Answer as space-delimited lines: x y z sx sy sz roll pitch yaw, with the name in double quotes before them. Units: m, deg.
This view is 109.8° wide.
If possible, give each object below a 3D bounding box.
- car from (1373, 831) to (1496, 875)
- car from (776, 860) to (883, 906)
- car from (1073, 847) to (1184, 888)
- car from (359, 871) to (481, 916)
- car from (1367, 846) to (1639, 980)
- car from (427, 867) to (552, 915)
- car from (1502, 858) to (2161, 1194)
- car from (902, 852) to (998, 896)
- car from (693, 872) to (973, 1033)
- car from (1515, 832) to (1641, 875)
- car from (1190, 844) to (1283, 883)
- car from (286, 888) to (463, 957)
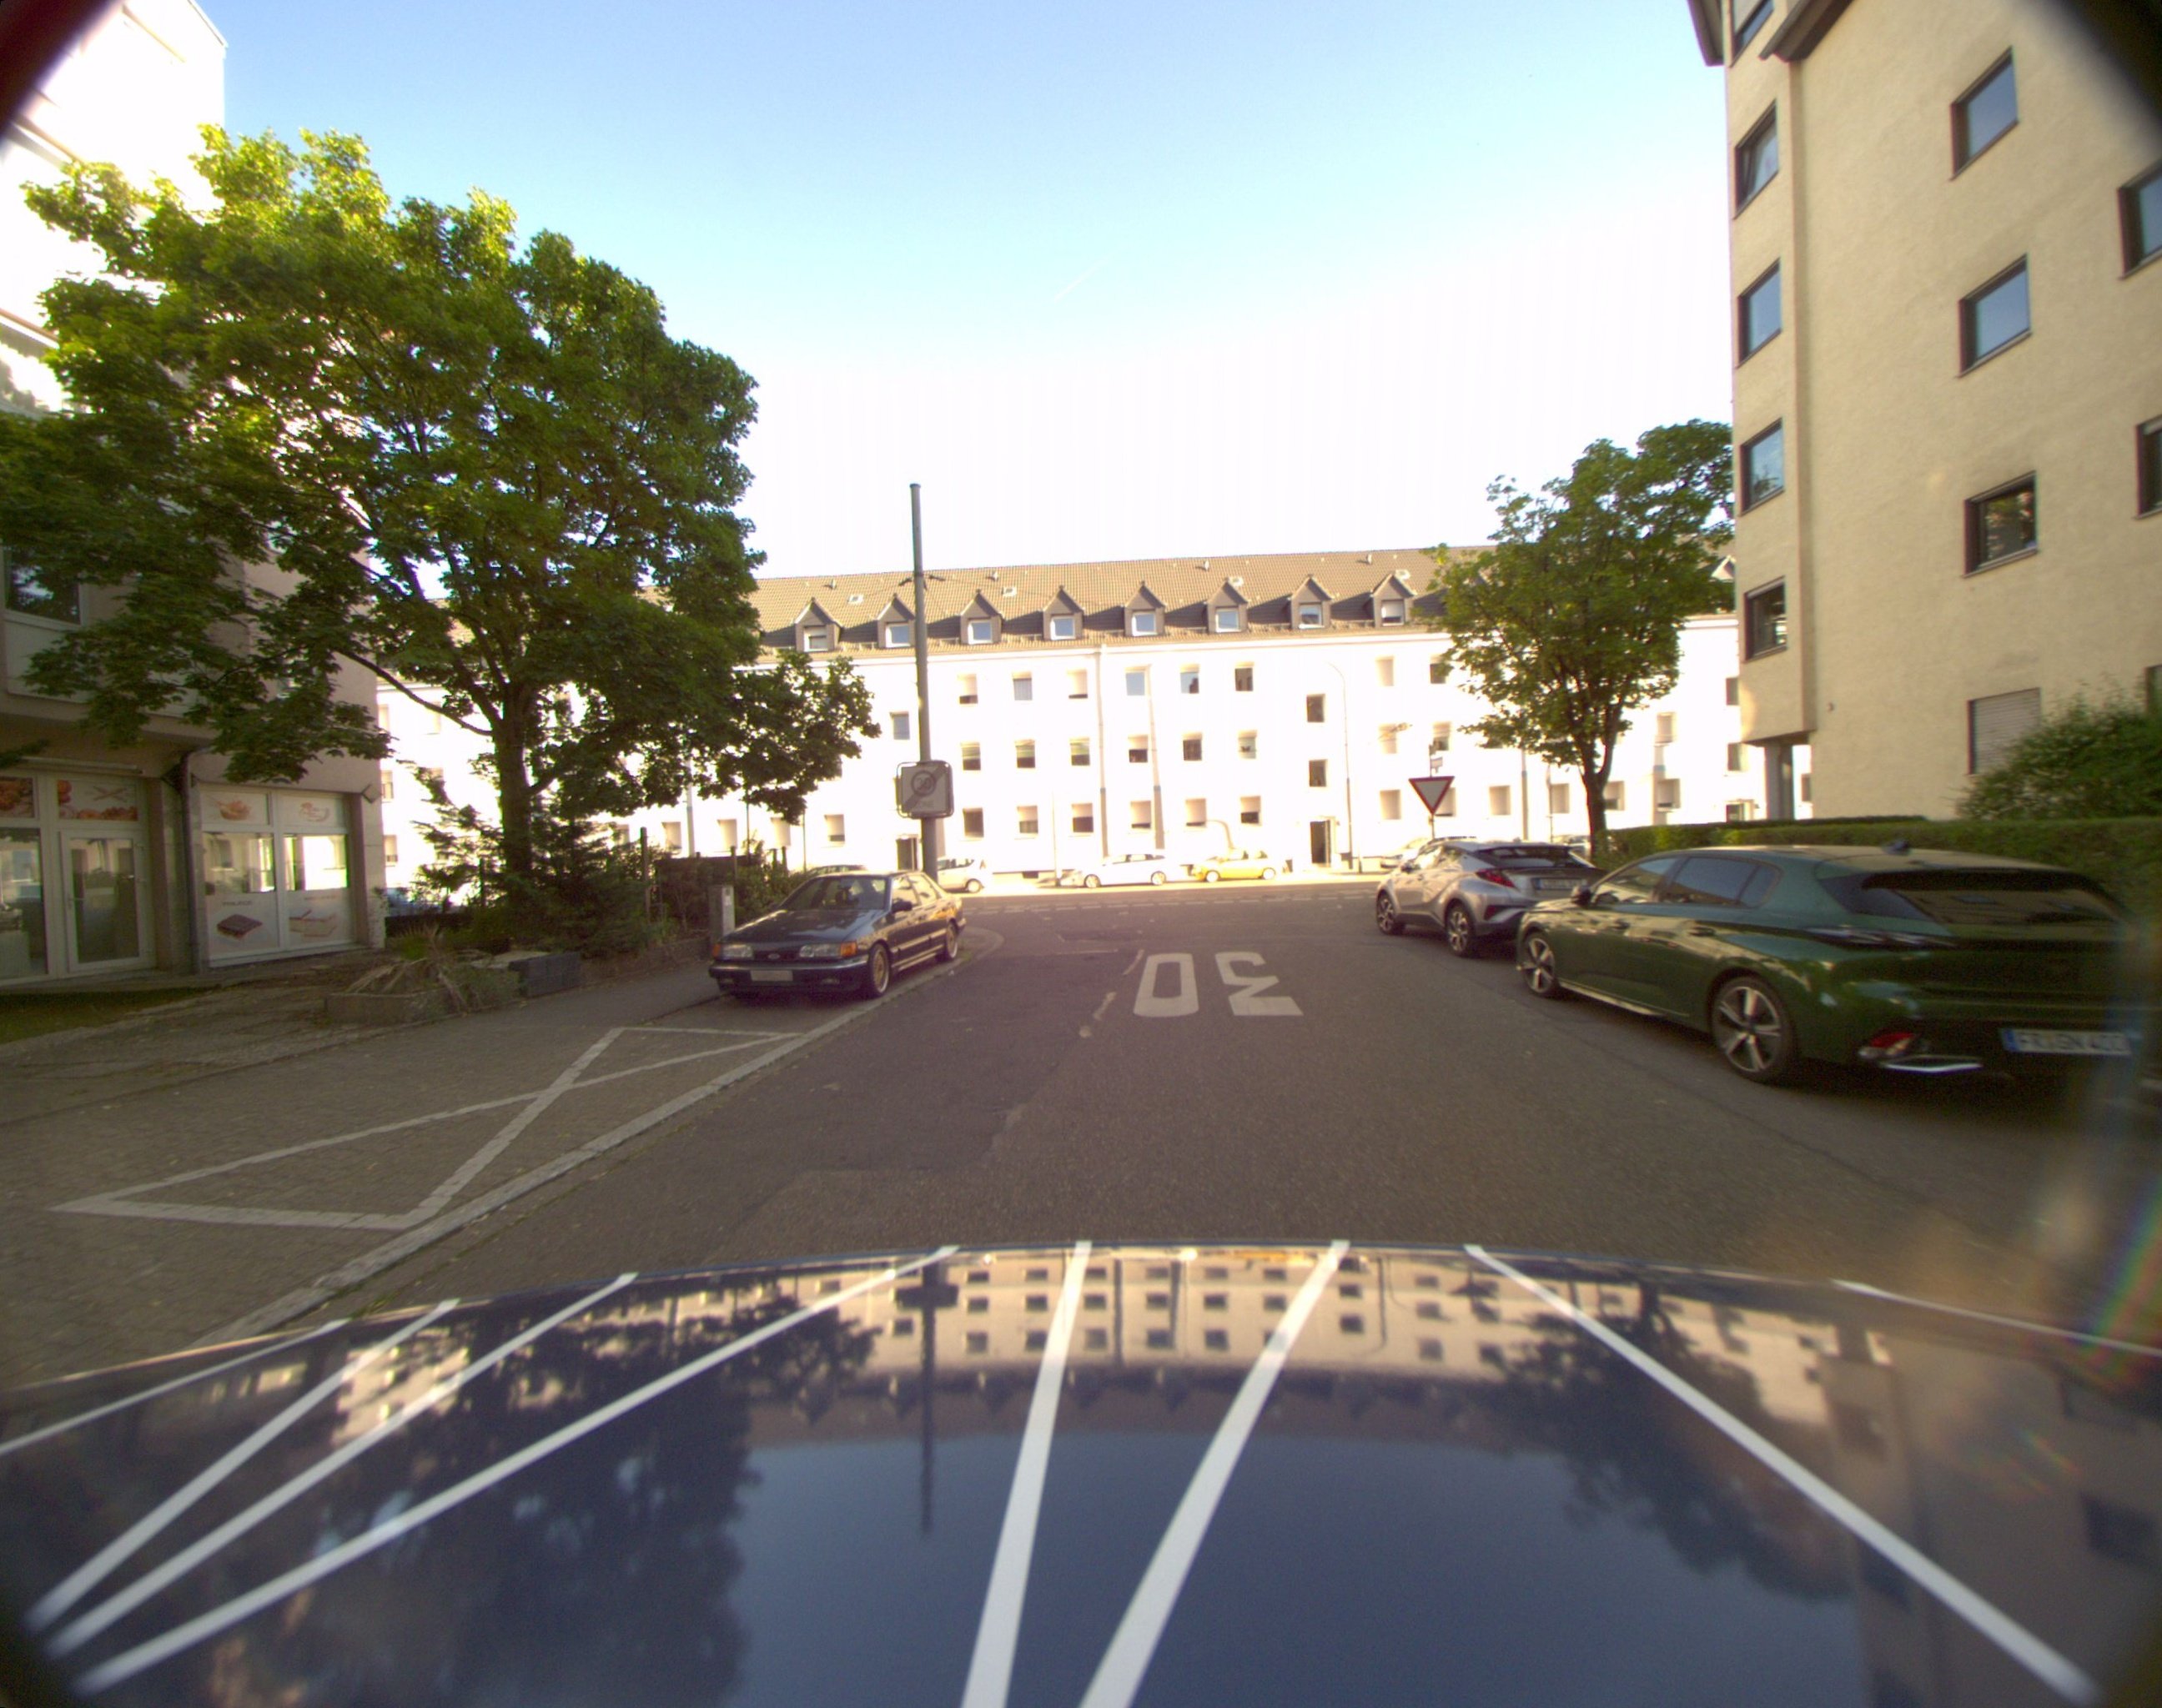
"car" 14.963 -0.052 32.321 4.283 1.548 1.999 -3 1 -2
"car" -10.663 1.210 32.445 3.875 1.498 1.649 -6 1 0
"car" 1.988 0.565 32.302 4.490 1.498 1.945 -3 1 1
"car" -30.082 1.796 34.658 3.997 1.771 1.694 -3 1 1
"car" 5.654 0.666 10.848 1.723 1.547 4.073 0 1 2
"car" -25.429 1.570 32.772 3.997 1.771 1.694 -3 1 1
"car" 4.936 0.794 5.543 1.769 1.444 4.209 1 1 7
"car" -5.520 0.835 32.314 3.704 1.598 1.649 -3 1 0
"car" -2.818 1.029 9.840 1.664 1.400 4.509 1 1 7
"car" 20.879 -0.031 32.027 4.072 1.675 1.923 -1 1 -2
"car" 6.563 0.380 32.299 3.611 1.440 1.554 -3 2 0
"car" -16.810 1.609 18.175 2.879 1.348 1.262 -3 2 -4
